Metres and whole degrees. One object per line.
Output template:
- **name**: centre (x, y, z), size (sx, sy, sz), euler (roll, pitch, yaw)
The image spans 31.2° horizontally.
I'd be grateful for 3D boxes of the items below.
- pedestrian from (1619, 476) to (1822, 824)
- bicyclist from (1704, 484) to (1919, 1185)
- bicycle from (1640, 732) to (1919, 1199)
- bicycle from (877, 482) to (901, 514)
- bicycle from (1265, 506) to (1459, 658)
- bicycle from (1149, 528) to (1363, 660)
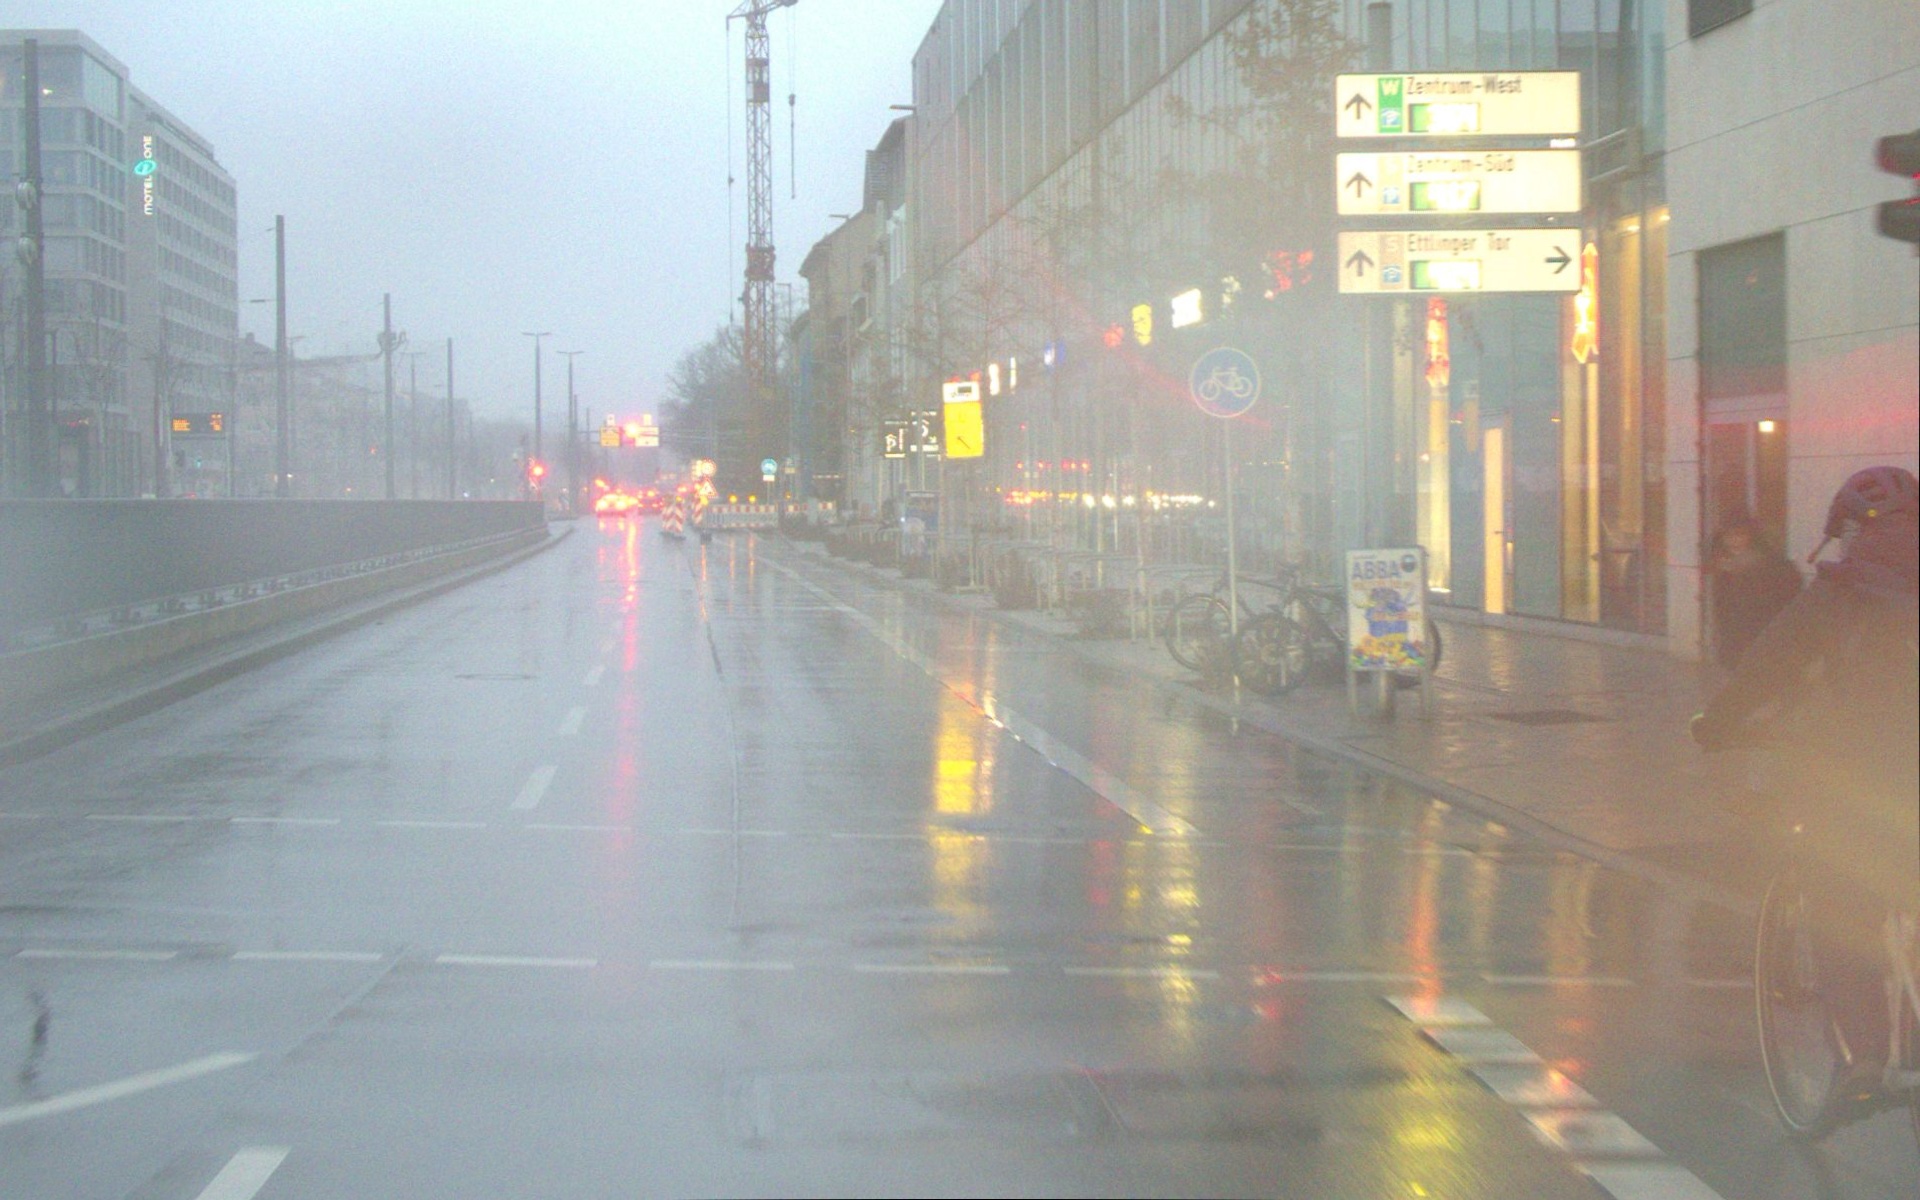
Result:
- **pedestrian**: centre (3.821, 0.230, 17.304), size (0.705, 1.688, 0.724), euler (-2, 2, -16)
- **bicyclist**: centre (2.259, 0.476, 7.677), size (0.943, 1.458, 1.066), euler (1, 2, 0)
- **bicycle**: centre (2.271, 0.874, 7.969), size (0.943, 0.996, 2.240), euler (1, 1, 0)
- **bicycle**: centre (-2.746, -3.932, 132.553), size (0.682, 1.218, 1.906), euler (-3, 2, -6)
- **bicycle**: centre (3.457, -0.172, 29.671), size (1.558, 1.257, 0.665), euler (2, 3, 43)
- **bicycle**: centre (2.799, -0.067, 32.609), size (1.903, 1.171, 0.667), euler (-2, 2, -5)
